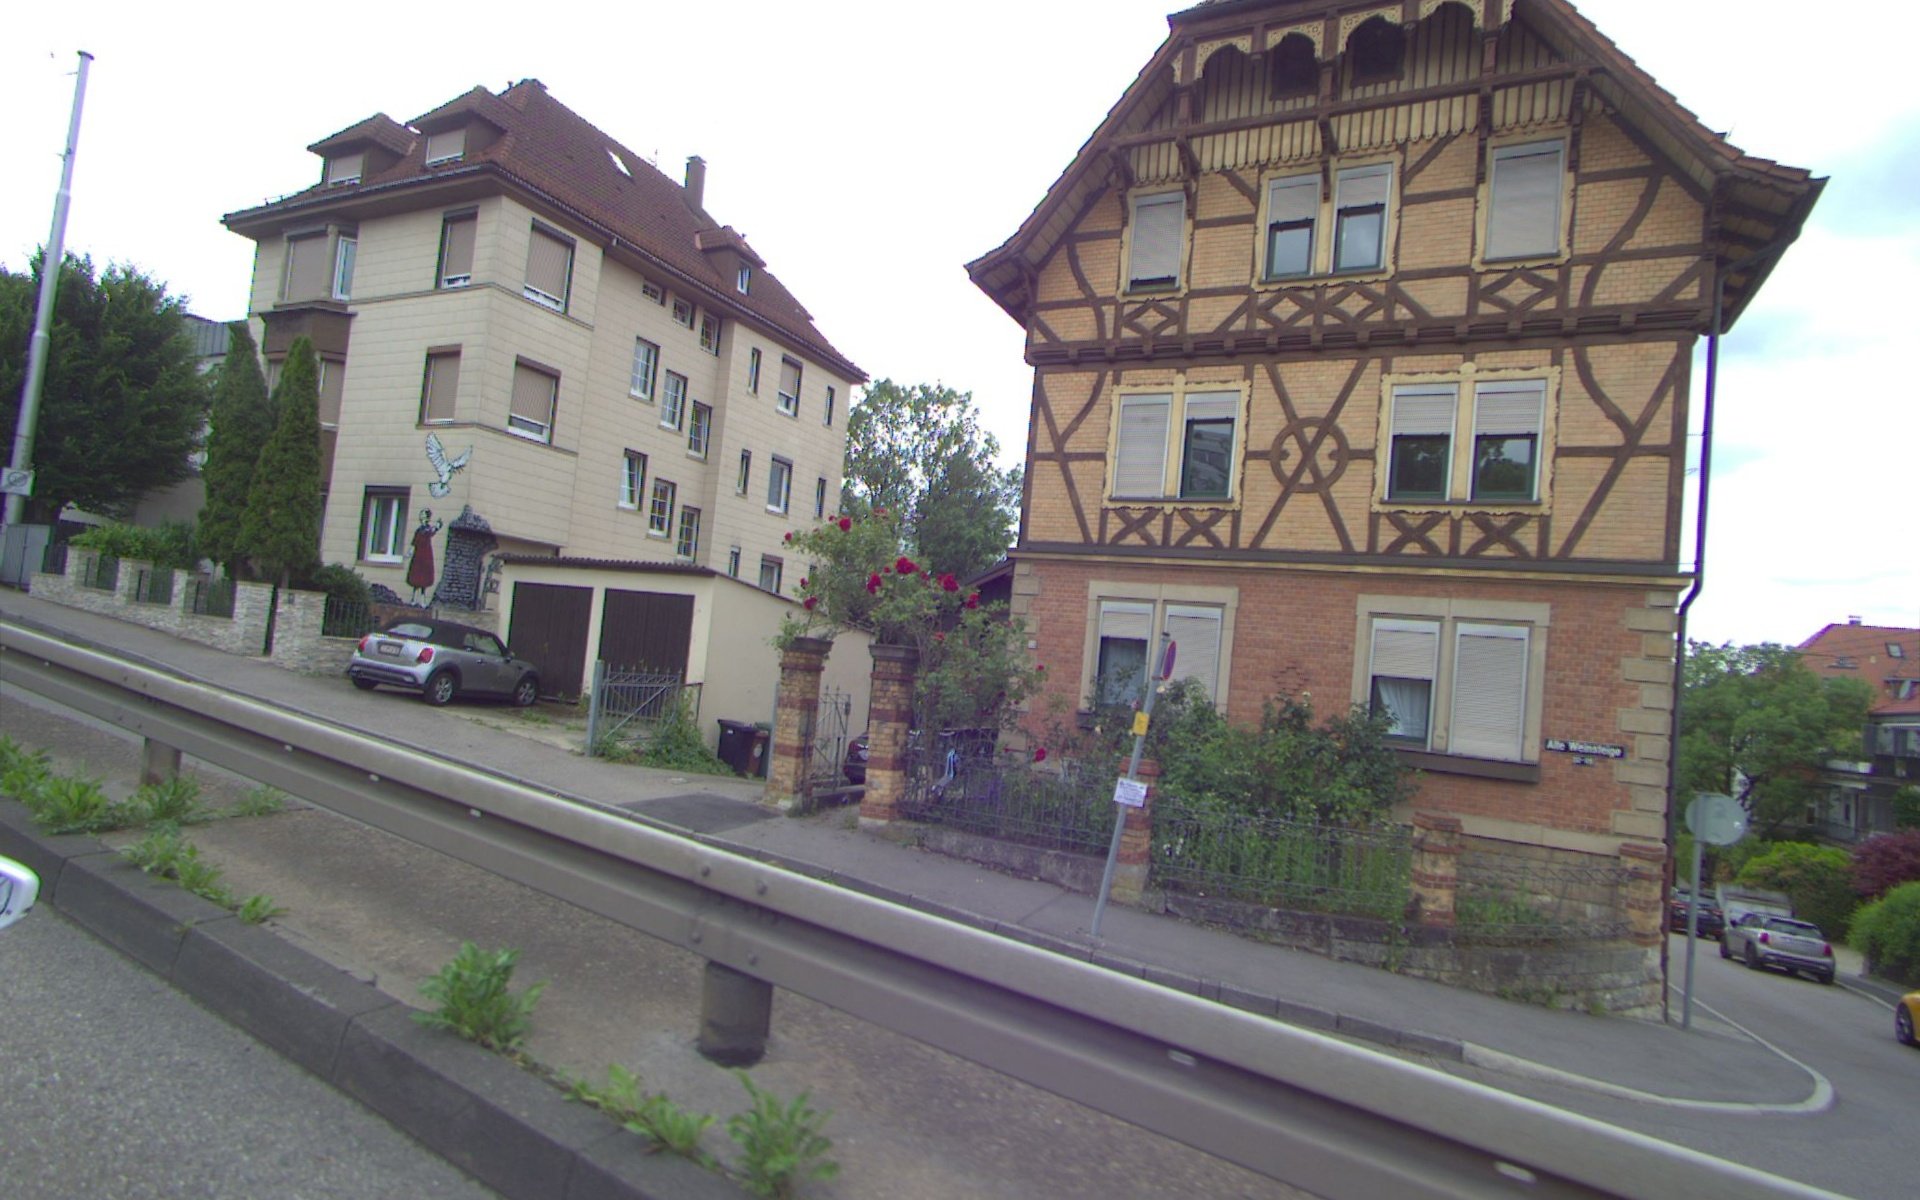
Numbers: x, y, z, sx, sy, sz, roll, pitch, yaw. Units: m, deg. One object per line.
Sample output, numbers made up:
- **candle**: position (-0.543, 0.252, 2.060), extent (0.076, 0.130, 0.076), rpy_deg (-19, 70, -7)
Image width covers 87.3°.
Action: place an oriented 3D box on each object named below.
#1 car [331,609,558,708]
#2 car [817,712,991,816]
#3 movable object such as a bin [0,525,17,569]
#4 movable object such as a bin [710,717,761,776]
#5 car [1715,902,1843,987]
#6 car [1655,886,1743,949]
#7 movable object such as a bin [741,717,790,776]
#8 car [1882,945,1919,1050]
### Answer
- **car**: position (-9.470, 1.151, 18.834), extent (1.672, 1.450, 3.622), rpy_deg (8, -3, 14)
- **car**: position (-1.066, 3.503, 21.139), extent (1.804, 1.596, 3.681), rpy_deg (7, -8, 29)
- **movable object such as a bin**: position (-29.717, -1.651, 31.135), extent (0.529, 1.286, 0.496), rpy_deg (8, -2, 30)
- **movable object such as a bin**: position (-4.271, 2.784, 19.123), extent (0.612, 1.016, 0.534), rpy_deg (7, -3, 32)
- **car**: position (21.493, 9.000, 26.569), extent (1.684, 1.417, 3.906), rpy_deg (8, -9, 27)
- **car**: position (26.727, 11.448, 36.494), extent (1.760, 1.586, 4.013), rpy_deg (8, -9, 27)
- **movable object such as a bin**: position (-3.883, 2.924, 20.078), extent (0.579, 1.057, 0.579), rpy_deg (7, -3, 32)
- **car**: position (15.590, 6.275, 14.940), extent (1.648, 1.473, 4.013), rpy_deg (8, -9, 27)
